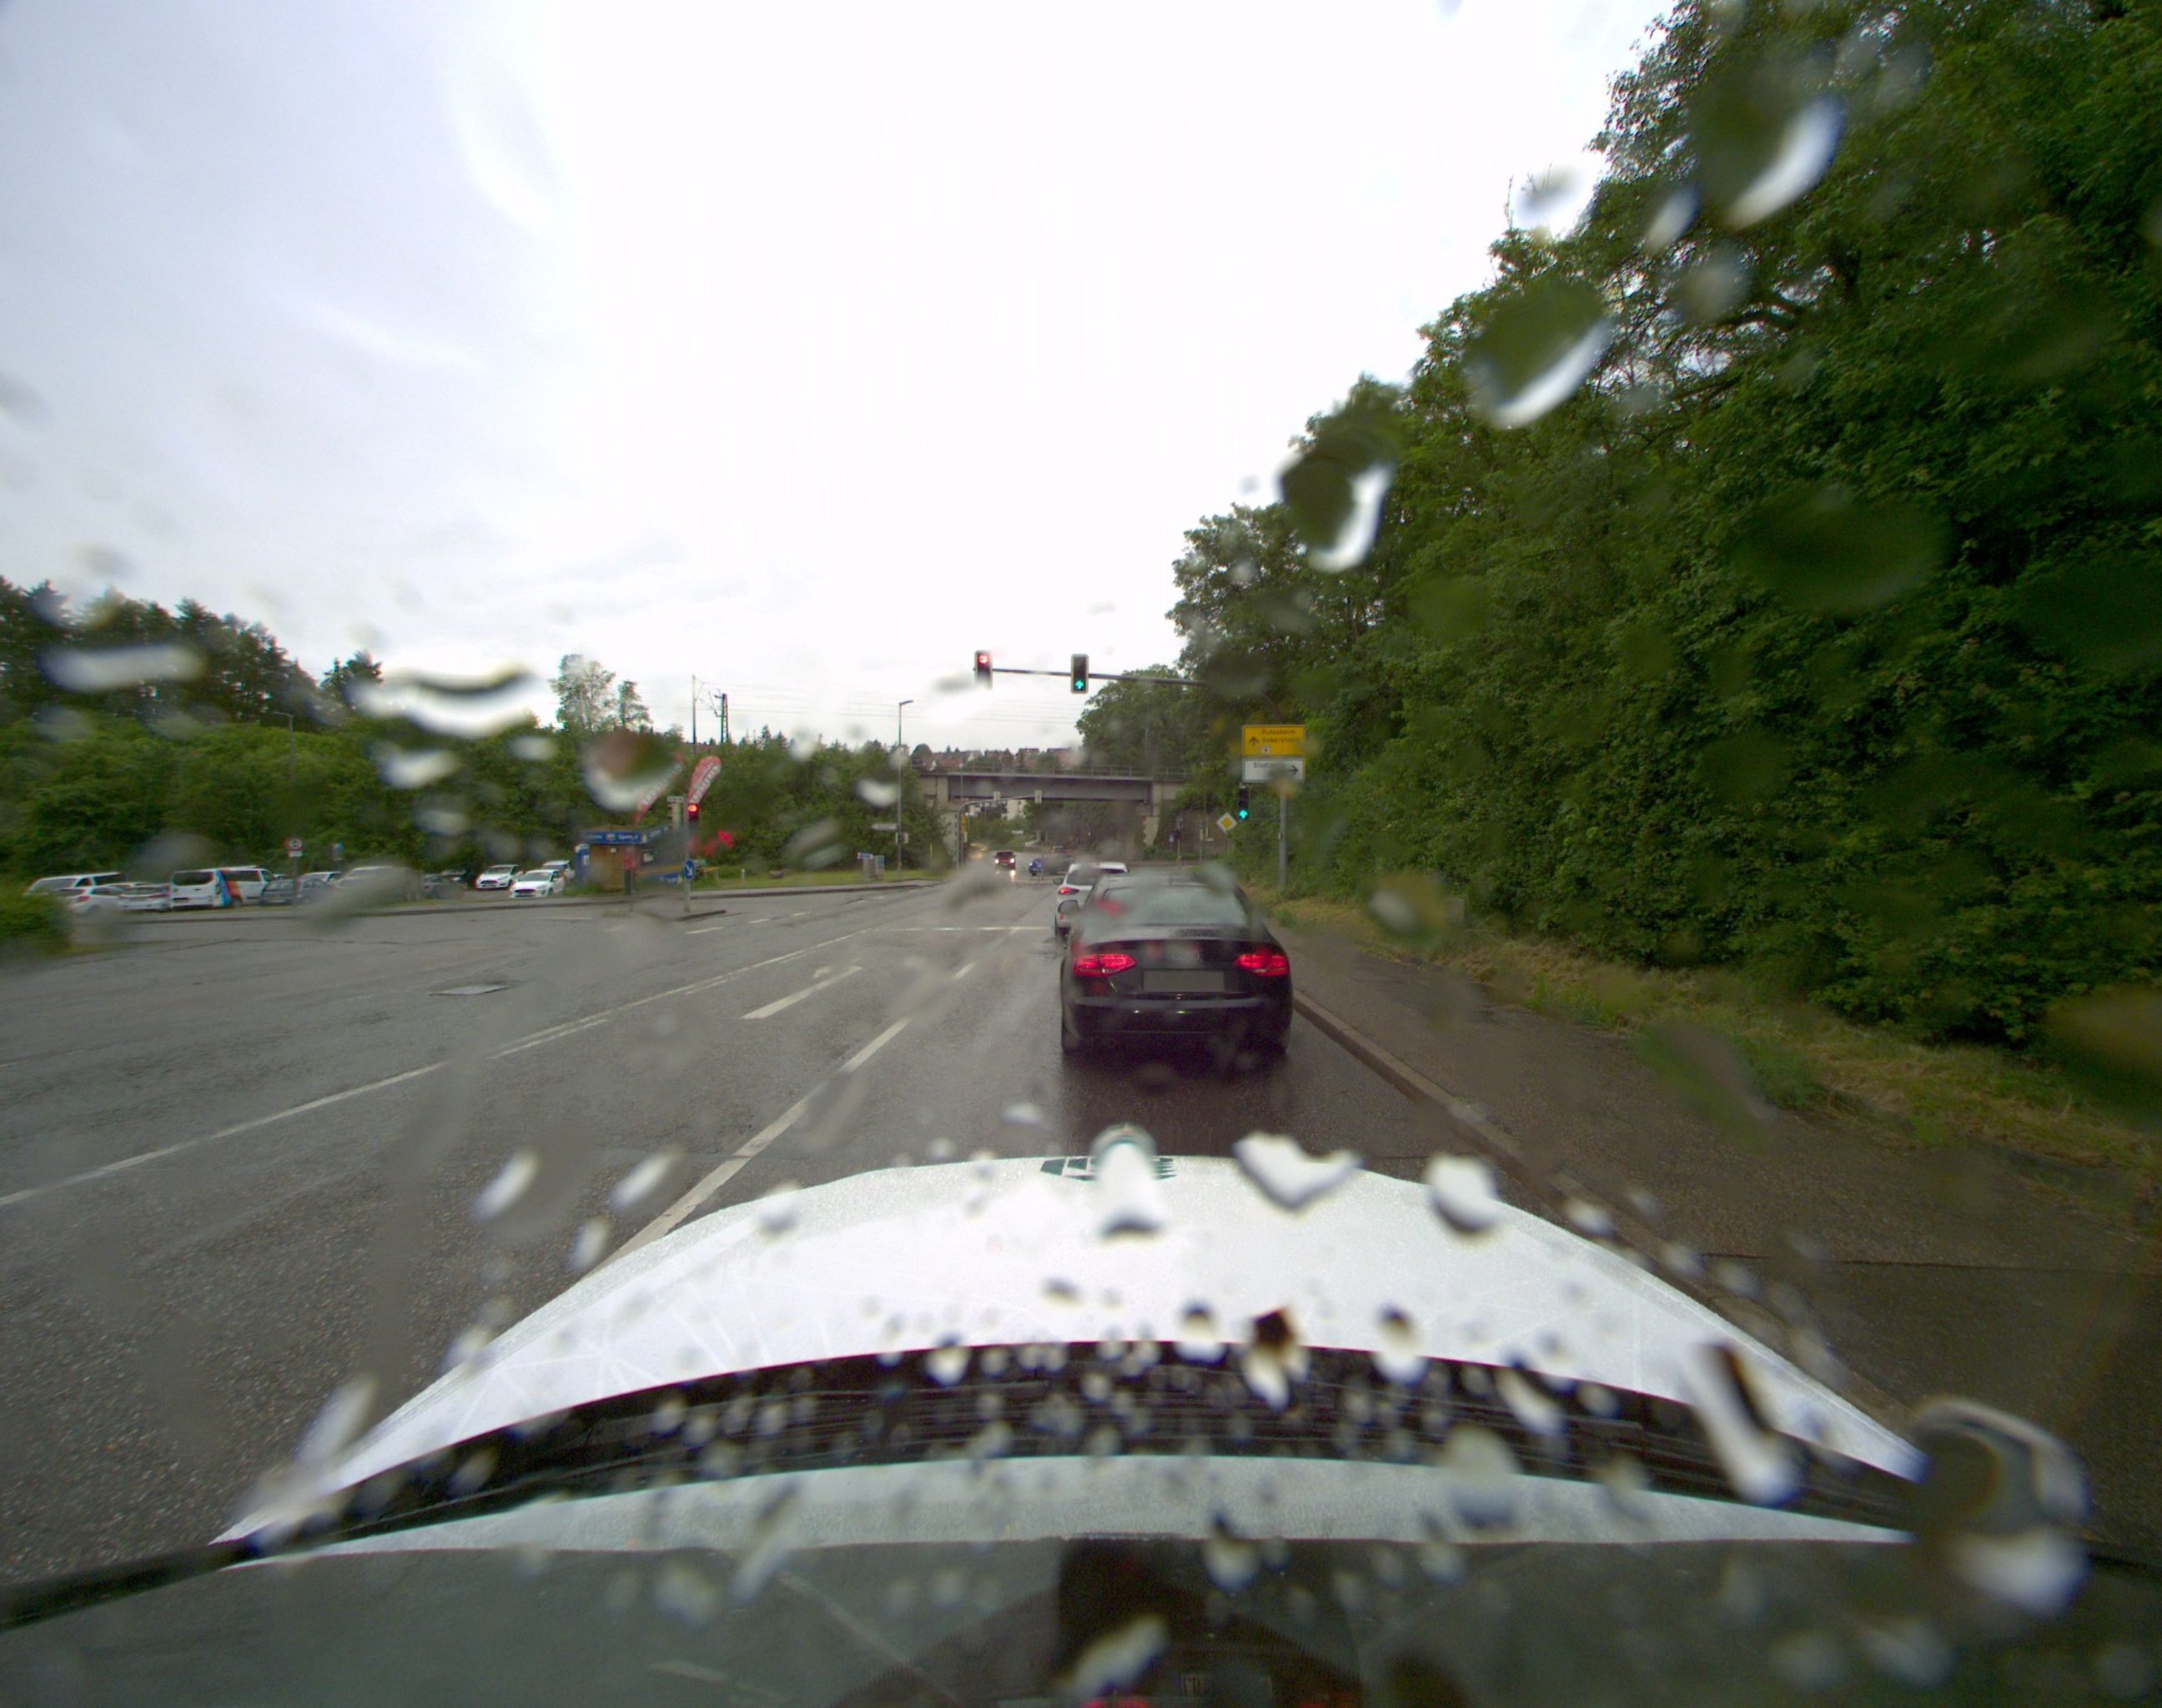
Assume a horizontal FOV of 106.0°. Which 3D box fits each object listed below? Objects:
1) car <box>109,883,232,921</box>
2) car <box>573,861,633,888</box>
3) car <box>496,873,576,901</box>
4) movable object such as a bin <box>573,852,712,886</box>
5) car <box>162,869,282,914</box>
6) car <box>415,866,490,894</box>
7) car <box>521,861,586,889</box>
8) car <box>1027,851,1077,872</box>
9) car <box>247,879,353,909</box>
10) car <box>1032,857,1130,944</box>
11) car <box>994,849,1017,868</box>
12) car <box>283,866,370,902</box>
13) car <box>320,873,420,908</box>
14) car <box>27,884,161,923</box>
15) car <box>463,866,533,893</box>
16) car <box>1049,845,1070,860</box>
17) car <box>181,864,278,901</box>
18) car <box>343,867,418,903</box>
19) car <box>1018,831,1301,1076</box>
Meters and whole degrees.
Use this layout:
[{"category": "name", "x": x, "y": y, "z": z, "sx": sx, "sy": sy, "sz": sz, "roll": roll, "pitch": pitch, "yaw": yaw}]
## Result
[{"category": "car", "x": -41.725, "y": 2.153, "z": 37.459, "sx": 1.858, "sy": 1.585, "sz": 3.978, "roll": 0, "pitch": -1, "yaw": -16}, {"category": "car", "x": -30.369, "y": 1.266, "z": 51.881, "sx": 1.994, "sy": 1.585, "sz": 3.985, "roll": -2, "pitch": 0, "yaw": -11}, {"category": "car", "x": -27.939, "y": 1.673, "z": 41.940, "sx": 1.652, "sy": 1.340, "sz": 4.883, "roll": -1, "pitch": -1, "yaw": -11}, {"category": "movable object such as a bin", "x": -22.745, "y": 0.769, "z": 42.419, "sx": 2.716, "sy": 1.628, "sz": 5.816, "roll": -2, "pitch": -2, "yaw": 41}, {"category": "car", "x": -39.440, "y": 1.673, "z": 37.538, "sx": 1.997, "sy": 1.949, "sz": 3.978, "roll": 0, "pitch": -1, "yaw": -16}, {"category": "car", "x": -37.943, "y": 1.564, "z": 49.320, "sx": 1.994, "sy": 1.585, "sz": 3.984, "roll": -1, "pitch": -1, "yaw": -11}, {"category": "car", "x": -32.606, "y": 1.268, "z": 50.479, "sx": 1.994, "sy": 1.585, "sz": 3.985, "roll": -2, "pitch": 0, "yaw": -11}, {"category": "car", "x": -2.064, "y": 0.531, "z": 58.860, "sx": 1.623, "sy": 1.470, "sz": 4.025, "roll": -1, "pitch": 0, "yaw": 33}, {"category": "car", "x": -37.161, "y": 1.877, "z": 38.880, "sx": 1.751, "sy": 1.310, "sz": 3.984, "roll": -1, "pitch": -1, "yaw": -11}, {"category": "car", "x": 0.058, "y": 0.908, "z": 17.187, "sx": 1.816, "sy": 1.585, "sz": 4.001, "roll": -1, "pitch": -1, "yaw": 2}, {"category": "car", "x": -6.967, "y": 0.446, "z": 75.002, "sx": 1.990, "sy": 1.628, "sz": 3.993, "roll": -2, "pitch": 0, "yaw": -5}, {"category": "car", "x": -44.762, "y": 1.737, "z": 48.461, "sx": 1.995, "sy": 2.013, "sz": 3.983, "roll": -2, "pitch": 0, "yaw": -12}, {"category": "car", "x": -34.622, "y": 1.723, "z": 39.793, "sx": 1.937, "sy": 1.585, "sz": 3.892, "roll": -1, "pitch": -1, "yaw": -11}, {"category": "car", "x": -44.360, "y": 2.195, "z": 36.753, "sx": 1.837, "sy": 1.585, "sz": 3.978, "roll": 0, "pitch": -1, "yaw": -16}, {"category": "car", "x": -35.407, "y": 1.533, "z": 49.585, "sx": 1.994, "sy": 1.585, "sz": 3.984, "roll": -1, "pitch": -1, "yaw": -11}, {"category": "car", "x": -2.494, "y": -0.206, "z": 92.945, "sx": 1.992, "sy": 1.596, "sz": 3.990, "roll": -2, "pitch": 0, "yaw": -7}, {"category": "car", "x": -49.275, "y": 1.590, "z": 47.251, "sx": 1.995, "sy": 2.013, "sz": 3.983, "roll": -1, "pitch": 0, "yaw": -12}, {"category": "car", "x": -42.162, "y": 1.802, "z": 49.137, "sx": 1.941, "sy": 2.014, "sz": 3.849, "roll": 0, "pitch": 0, "yaw": -15}, {"category": "car", "x": 0.582, "y": 0.708, "z": 7.456, "sx": 1.863, "sy": 1.617, "sz": 4.001, "roll": -1, "pitch": -1, "yaw": 2}]
